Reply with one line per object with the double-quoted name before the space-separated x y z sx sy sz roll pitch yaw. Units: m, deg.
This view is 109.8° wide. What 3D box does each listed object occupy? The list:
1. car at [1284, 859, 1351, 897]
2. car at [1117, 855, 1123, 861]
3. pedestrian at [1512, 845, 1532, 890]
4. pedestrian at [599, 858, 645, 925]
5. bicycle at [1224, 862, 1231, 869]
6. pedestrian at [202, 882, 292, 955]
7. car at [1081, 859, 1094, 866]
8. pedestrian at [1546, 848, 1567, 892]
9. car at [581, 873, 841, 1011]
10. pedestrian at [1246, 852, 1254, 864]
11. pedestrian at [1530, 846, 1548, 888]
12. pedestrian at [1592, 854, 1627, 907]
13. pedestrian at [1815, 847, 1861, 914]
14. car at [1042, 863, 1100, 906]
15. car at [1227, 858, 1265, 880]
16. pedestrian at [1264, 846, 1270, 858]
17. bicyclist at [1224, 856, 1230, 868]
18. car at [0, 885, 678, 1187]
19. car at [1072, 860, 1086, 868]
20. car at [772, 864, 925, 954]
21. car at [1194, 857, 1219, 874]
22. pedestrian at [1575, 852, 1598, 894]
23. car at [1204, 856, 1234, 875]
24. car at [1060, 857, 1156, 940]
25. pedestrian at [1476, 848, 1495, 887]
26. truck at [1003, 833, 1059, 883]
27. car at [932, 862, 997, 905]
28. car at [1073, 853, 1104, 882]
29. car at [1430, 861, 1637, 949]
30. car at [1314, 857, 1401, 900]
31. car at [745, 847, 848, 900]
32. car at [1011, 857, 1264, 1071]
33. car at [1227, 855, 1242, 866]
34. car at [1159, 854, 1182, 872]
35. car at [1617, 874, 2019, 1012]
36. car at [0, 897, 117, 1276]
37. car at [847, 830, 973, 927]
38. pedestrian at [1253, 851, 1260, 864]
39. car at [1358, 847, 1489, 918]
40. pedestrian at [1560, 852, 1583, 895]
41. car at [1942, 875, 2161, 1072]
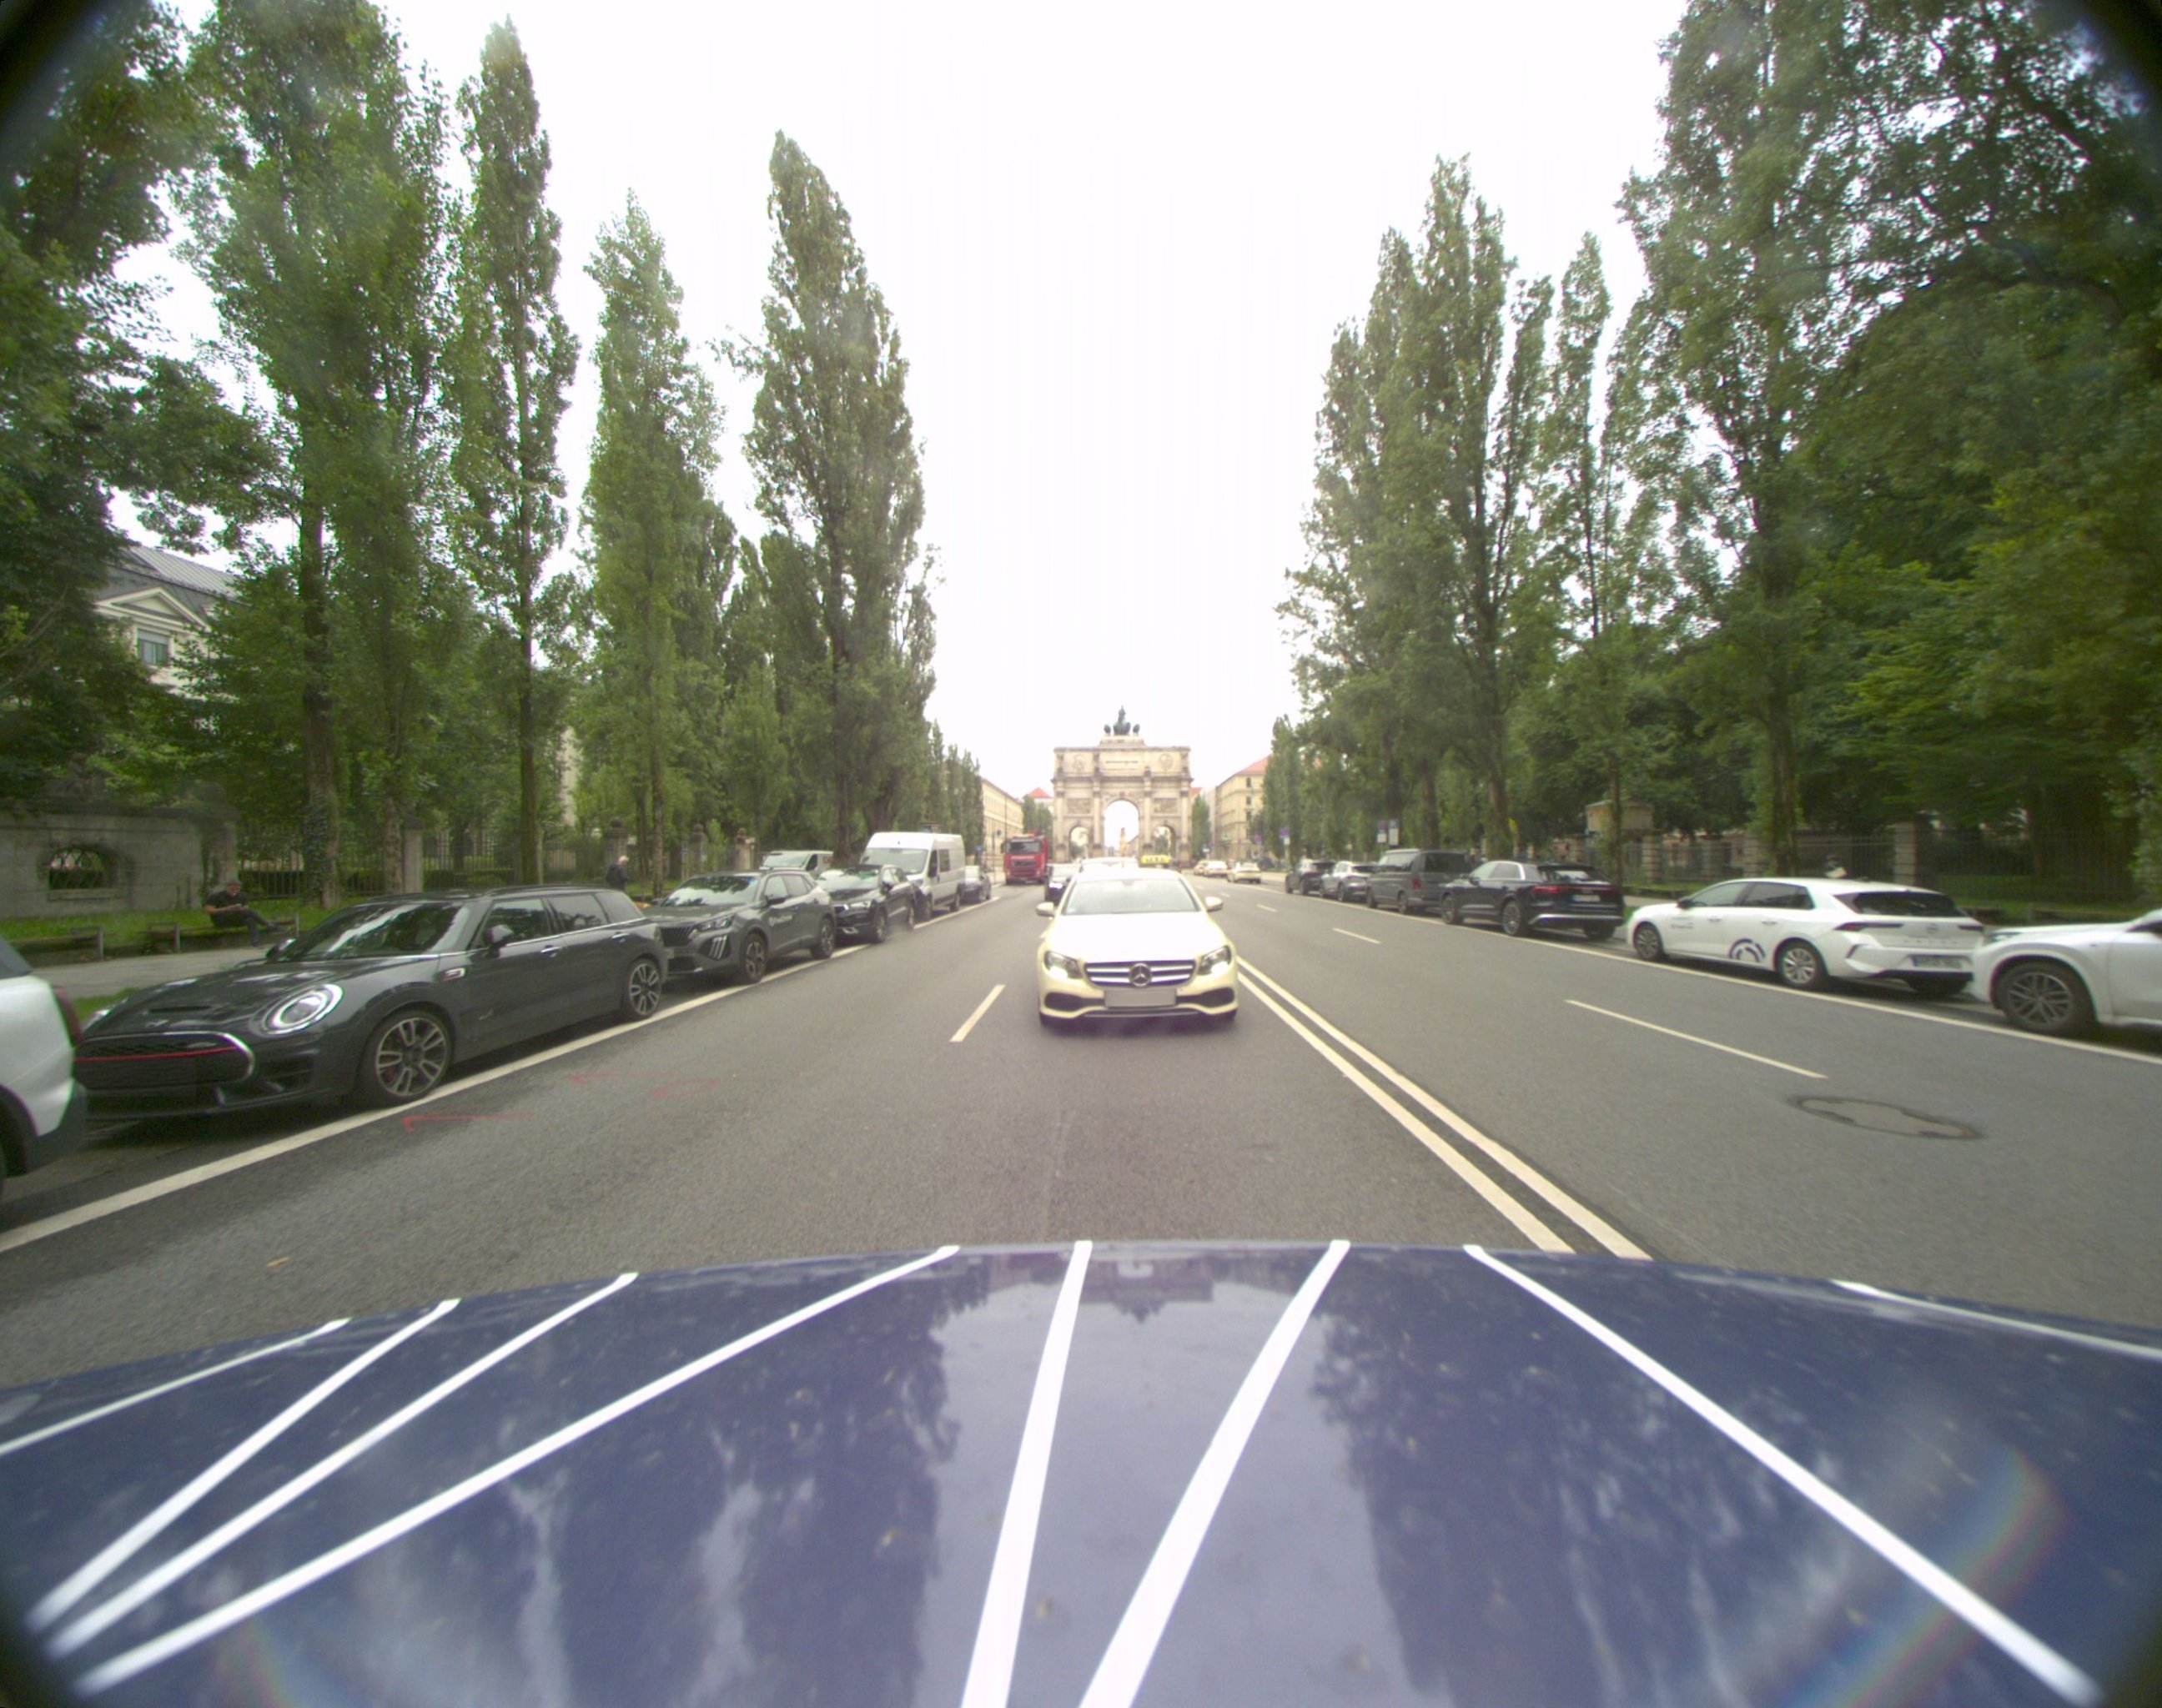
"car" 10.826 1.034 35.178 1.786 1.586 4.614 1 0 2
"car" 13.238 1.411 259.938 1.998 2.002 4.395 -1 0 2
"pedestrian" 19.710 0.597 33.951 0.551 1.948 0.532 -1 1 2
"pedestrian" -11.505 0.926 19.075 0.717 1.650 0.633 -1 1 2
"bicycle" 19.136 1.481 99.494 0.709 0.933 1.736 -1 0 6
"pedestrian" -14.985 1.144 13.672 0.881 1.237 0.672 1 0 2
"car" 1.448 1.947 174.011 1.784 1.739 4.326 0 0 19
"pedestrian" 21.276 0.701 34.003 0.551 1.948 0.532 -1 1 2
"car" -5.079 1.113 11.155 1.655 1.494 4.114 -2 0 2
"pedestrian" 22.791 0.517 102.489 0.845 1.668 0.968 0 0 19
"pedestrian" 20.343 0.573 33.770 0.434 1.824 0.612 -1 1 2
"pedestrian" 17.339 0.850 24.922 0.584 1.710 0.787 -1 0 1
"pedestrian" 20.071 0.686 20.162 0.551 1.737 0.673 -1 1 2
"car" -0.312 1.066 28.001 1.922 1.320 4.411 -2 0 1
"car" 11.675 1.066 54.027 1.935 1.488 4.791 0 -1 3
"pedestrian" 32.246 -0.329 131.742 0.796 2.002 0.754 -1 0 -33
"bicyclist" 19.130 1.060 99.469 0.695 1.489 0.862 0 0 7
"car" -5.368 1.113 6.328 1.637 1.437 4.149 -3 0 2
"car" -0.399 2.246 168.636 1.784 1.739 4.326 0 0 18
"car" -4.798 1.058 16.345 1.825 1.581 4.223 -2 0 2
"car" 12.387 1.079 75.482 1.822 1.550 4.859 1 1 2
"pedestrian" 19.969 0.738 30.026 0.551 1.659 0.532 -1 1 2
"car" 12.372 0.988 68.442 1.942 1.615 4.965 0 1 2
"car" 0.646 0.937 18.115 1.953 1.615 4.412 -2 0 2
"pedestrian" 18.137 0.597 34.095 0.551 1.737 0.532 -1 1 2
"truck" -3.330 0.258 53.117 2.720 3.092 10.428 0 0 3
"car" -4.479 1.116 29.745 1.758 1.441 4.000 -3 0 2
"car" 0.544 0.859 50.953 1.889 1.846 4.313 -1 0 3
"car" 10.013 1.019 17.390 1.819 1.599 5.053 2 0 2
"car" 10.961 0.910 30.497 1.895 1.575 4.655 0 0 2
"car" -11.323 0.700 30.680 1.998 1.935 5.084 -1 0 3
"car" 0.587 0.885 8.322 1.919 1.566 4.690 -2 0 4
"car" 26.918 1.088 133.206 2.003 1.844 4.991 1 1 4
"car" 8.382 0.845 71.420 1.789 1.646 4.113 1 0 2
"car" 9.950 1.083 10.839 1.680 1.414 4.237 1 0 2
"car" -5.527 1.035 1.514 1.785 1.572 4.147 -3 0 2
"car" -4.883 0.643 22.839 2.079 2.464 6.284 -2 0 2
"pedestrian" 23.606 0.499 102.102 0.845 1.668 0.968 0 0 19
"car" 10.536 0.813 23.873 1.998 1.945 4.938 1 0 2
"pedestrian" 19.391 0.764 30.022 0.551 1.691 0.532 -1 1 2
"car" 9.767 1.025 5.642 1.789 1.579 4.462 1 0 3
